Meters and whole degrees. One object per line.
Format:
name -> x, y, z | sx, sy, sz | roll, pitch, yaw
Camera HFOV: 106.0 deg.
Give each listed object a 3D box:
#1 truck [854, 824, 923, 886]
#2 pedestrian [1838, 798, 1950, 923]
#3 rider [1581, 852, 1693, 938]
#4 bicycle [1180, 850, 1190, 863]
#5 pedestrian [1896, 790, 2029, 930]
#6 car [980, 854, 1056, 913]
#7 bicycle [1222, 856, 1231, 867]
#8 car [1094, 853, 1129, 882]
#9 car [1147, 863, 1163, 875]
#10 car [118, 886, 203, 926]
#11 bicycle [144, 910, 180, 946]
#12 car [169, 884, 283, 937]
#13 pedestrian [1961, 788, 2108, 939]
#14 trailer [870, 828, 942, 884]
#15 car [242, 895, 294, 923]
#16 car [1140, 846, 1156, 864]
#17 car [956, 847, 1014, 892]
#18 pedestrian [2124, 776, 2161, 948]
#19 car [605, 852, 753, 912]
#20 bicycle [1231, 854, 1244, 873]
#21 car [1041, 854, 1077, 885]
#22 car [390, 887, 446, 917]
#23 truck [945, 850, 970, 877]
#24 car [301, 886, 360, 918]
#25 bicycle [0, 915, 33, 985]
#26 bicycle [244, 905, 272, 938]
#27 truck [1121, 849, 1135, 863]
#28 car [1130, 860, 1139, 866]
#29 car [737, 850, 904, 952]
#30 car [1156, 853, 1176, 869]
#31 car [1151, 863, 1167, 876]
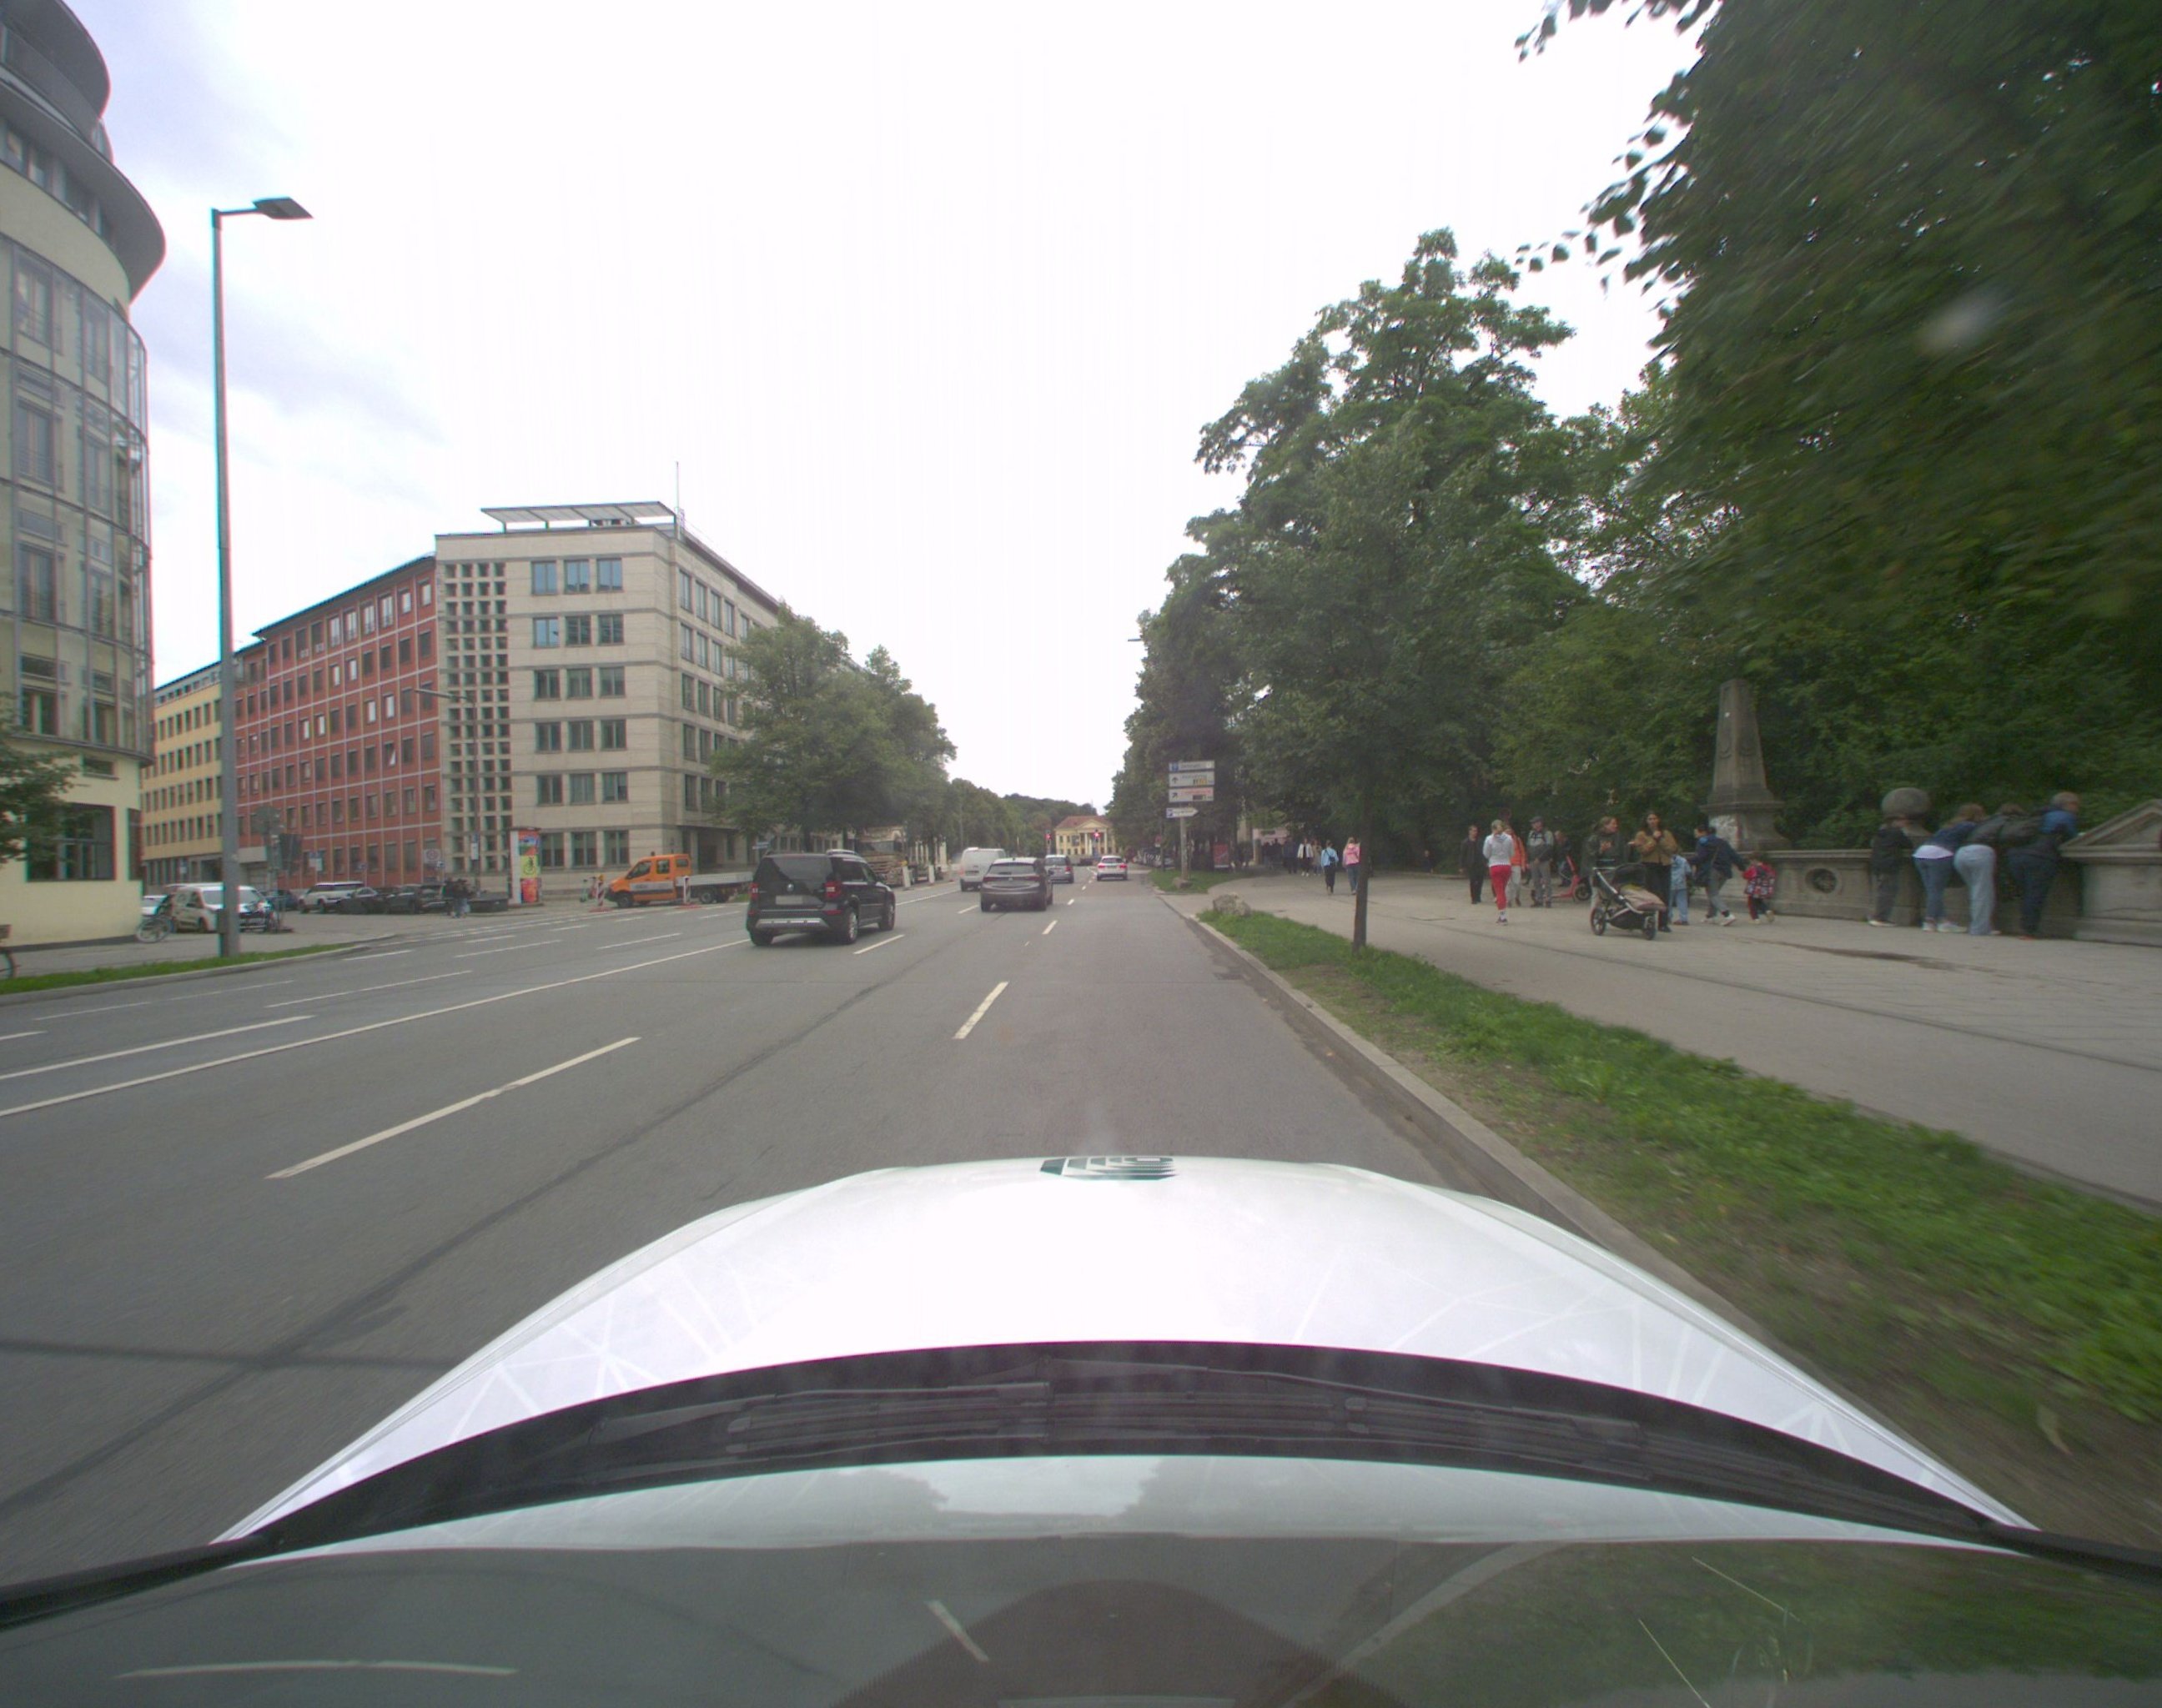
truck -> -12.501, 0.096, 53.572 | 2.908, 3.775, 7.659 | 0, -1, -2
pedestrian -> 11.363, 0.090, 11.411 | 0.808, 1.691, 0.729 | -1, -1, 4
rider -> 7.572, 0.540, 11.157 | 0.760, 1.112, 1.246 | -1, -1, 7
bicycle -> 10.799, 0.264, 84.586 | 0.626, 1.231, 2.618 | 0, -1, 0
pedestrian -> 11.256, 0.079, 10.429 | 0.808, 1.691, 0.729 | -3, -1, 4
car -> -1.724, 0.805, 23.548 | 1.703, 1.552, 4.002 | -1, -1, 3
bicycle -> 18.466, 0.928, 103.519 | 0.696, 1.415, 2.300 | -2, -1, 2
car -> 1.774, 0.797, 48.445 | 1.775, 1.644, 3.995 | 0, -1, -3
car -> 9.470, 1.859, 103.839 | 1.815, 1.465, 4.030 | -2, -1, 3
car -> -37.845, 2.134, 33.459 | 3.914, 1.497, 1.498 | -2, -1, 29
bicycle -> -25.208, 2.017, 22.361 | 1.715, 0.877, 0.590 | -2, -1, 43
car -> -31.097, 2.022, 29.589 | 4.273, 1.750, 1.882 | -2, -1, 30
pedestrian -> 11.242, 0.115, 9.637 | 0.808, 1.691, 0.729 | -2, -1, 4
trailer -> -12.637, 0.177, 60.094 | 2.941, 3.740, 11.764 | 0, -1, -1
car -> -50.860, 3.418, 50.932 | 3.143, 1.591, 1.498 | -2, -1, 29
car -> 10.255, 0.148, 124.729 | 1.987, 2.643, 4.878 | 0, -1, 1
car -> -4.330, 0.699, 37.509 | 1.891, 1.847, 4.957 | -2, -1, 2
pedestrian -> 11.030, 0.059, 7.884 | 0.808, 1.691, 0.729 | -3, -1, 4
car -> -18.551, 1.265, 37.771 | 5.666, 2.536, 2.155 | -2, -1, -2
bicycle -> 8.612, 0.544, 44.861 | 0.383, 1.021, 2.080 | -1, -1, 3
car -> -1.159, 0.829, 45.398 | 1.772, 1.654, 4.001 | -1, -1, 2
car -> -33.010, 2.392, 40.542 | 3.197, 1.375, 1.480 | -3, -1, 38
truck -> -16.030, 1.270, 105.984 | 2.837, 3.357, 8.745 | 0, -1, -6
car -> -41.863, 2.674, 45.434 | 3.143, 1.664, 1.498 | -2, -1, 29
bicycle -> -16.315, 1.446, 11.877 | 0.280, 1.013, 1.383 | 0, -1, -1
bicycle -> -27.333, 2.224, 27.044 | 1.822, 1.021, 0.590 | -2, -1, 44
truck -> 12.040, 0.496, 209.009 | 3.312, 3.367, 8.667 | -1, -1, 2
car -> 11.278, 1.911, 171.463 | 1.717, 1.324, 4.030 | -2, -1, 3
car -> -4.804, 0.814, 15.702 | 1.716, 1.636, 4.206 | -2, -1, 2
car -> 8.954, 0.747, 86.492 | 1.820, 1.550, 4.755 | -2, -1, 3
car -> 9.417, 1.849, 98.490 | 1.717, 1.465, 4.779 | -2, -1, 3
